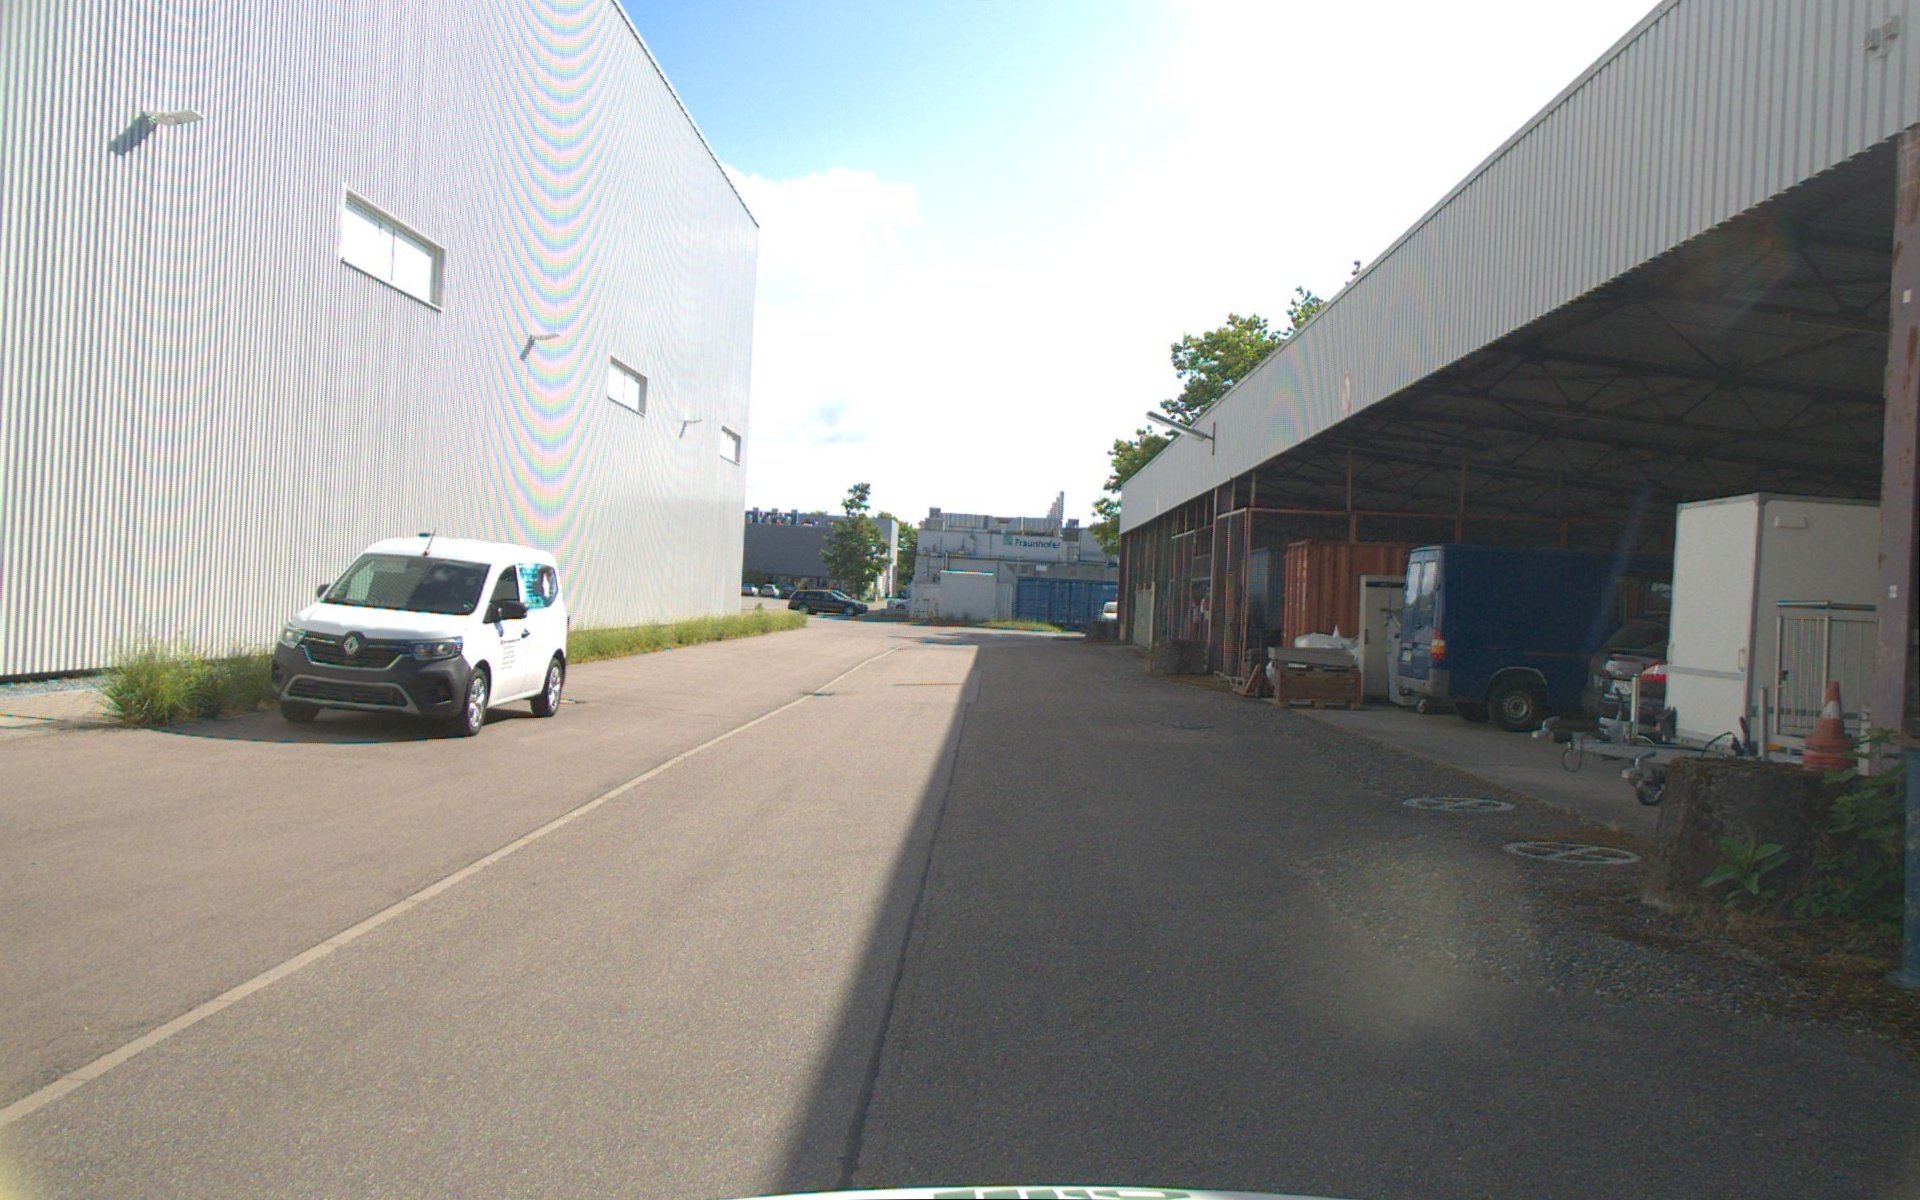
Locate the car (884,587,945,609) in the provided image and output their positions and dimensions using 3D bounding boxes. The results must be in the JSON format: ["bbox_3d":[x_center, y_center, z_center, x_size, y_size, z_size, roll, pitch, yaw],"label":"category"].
[{"bbox_3d":[-3.465,-0.150,126.364,4.432,1.534,1.909,2,0,2],"label":"car"}]

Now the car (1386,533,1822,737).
[{"bbox_3d":[8.301,0.434,21.661,4.876,2.366,2.000,2,0,1],"label":"car"}]

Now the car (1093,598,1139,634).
[{"bbox_3d":[8.061,0.803,85.865,1.953,1.613,4.173,2,2,0],"label":"car"}]

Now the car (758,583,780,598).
[{"bbox_3d":[-22.665,-1.112,196.137,2.148,1.766,4.000,1,0,0],"label":"car"}]

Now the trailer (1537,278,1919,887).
[{"bbox_3d":[9.062,0.040,10.372,9.831,3.272,2.854,2,0,1],"label":"trailer"}]

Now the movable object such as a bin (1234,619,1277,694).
[{"bbox_3d":[4.885,0.917,27.380,0.569,1.185,1.239,2,0,5],"label":"movable object such as a bin"}]

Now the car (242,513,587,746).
[{"bbox_3d":[-5.241,0.253,16.585,1.852,1.877,4.359,5,0,0],"label":"car"}]

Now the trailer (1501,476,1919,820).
[{"bbox_3d":[6.886,0.374,12.940,4.711,2.433,1.828,2,0,6],"label":"trailer"}]

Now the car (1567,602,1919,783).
[{"bbox_3d":[8.176,0.852,15.567,4.241,1.522,1.777,2,0,-2],"label":"car"}]

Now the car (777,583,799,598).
[{"bbox_3d":[-20.189,-1.111,194.397,2.148,1.766,4.000,1,0,0],"label":"car"}]

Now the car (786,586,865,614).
[{"bbox_3d":[-8.009,-0.016,98.813,4.432,1.534,1.909,2,0,3],"label":"car"}]

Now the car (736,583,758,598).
[{"bbox_3d":[-25.204,-1.124,195.822,1.952,1.766,4.000,1,0,0],"label":"car"}]

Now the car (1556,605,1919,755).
[{"bbox_3d":[9.026,0.881,18.687,3.908,1.498,1.787,2,0,-4],"label":"car"}]
